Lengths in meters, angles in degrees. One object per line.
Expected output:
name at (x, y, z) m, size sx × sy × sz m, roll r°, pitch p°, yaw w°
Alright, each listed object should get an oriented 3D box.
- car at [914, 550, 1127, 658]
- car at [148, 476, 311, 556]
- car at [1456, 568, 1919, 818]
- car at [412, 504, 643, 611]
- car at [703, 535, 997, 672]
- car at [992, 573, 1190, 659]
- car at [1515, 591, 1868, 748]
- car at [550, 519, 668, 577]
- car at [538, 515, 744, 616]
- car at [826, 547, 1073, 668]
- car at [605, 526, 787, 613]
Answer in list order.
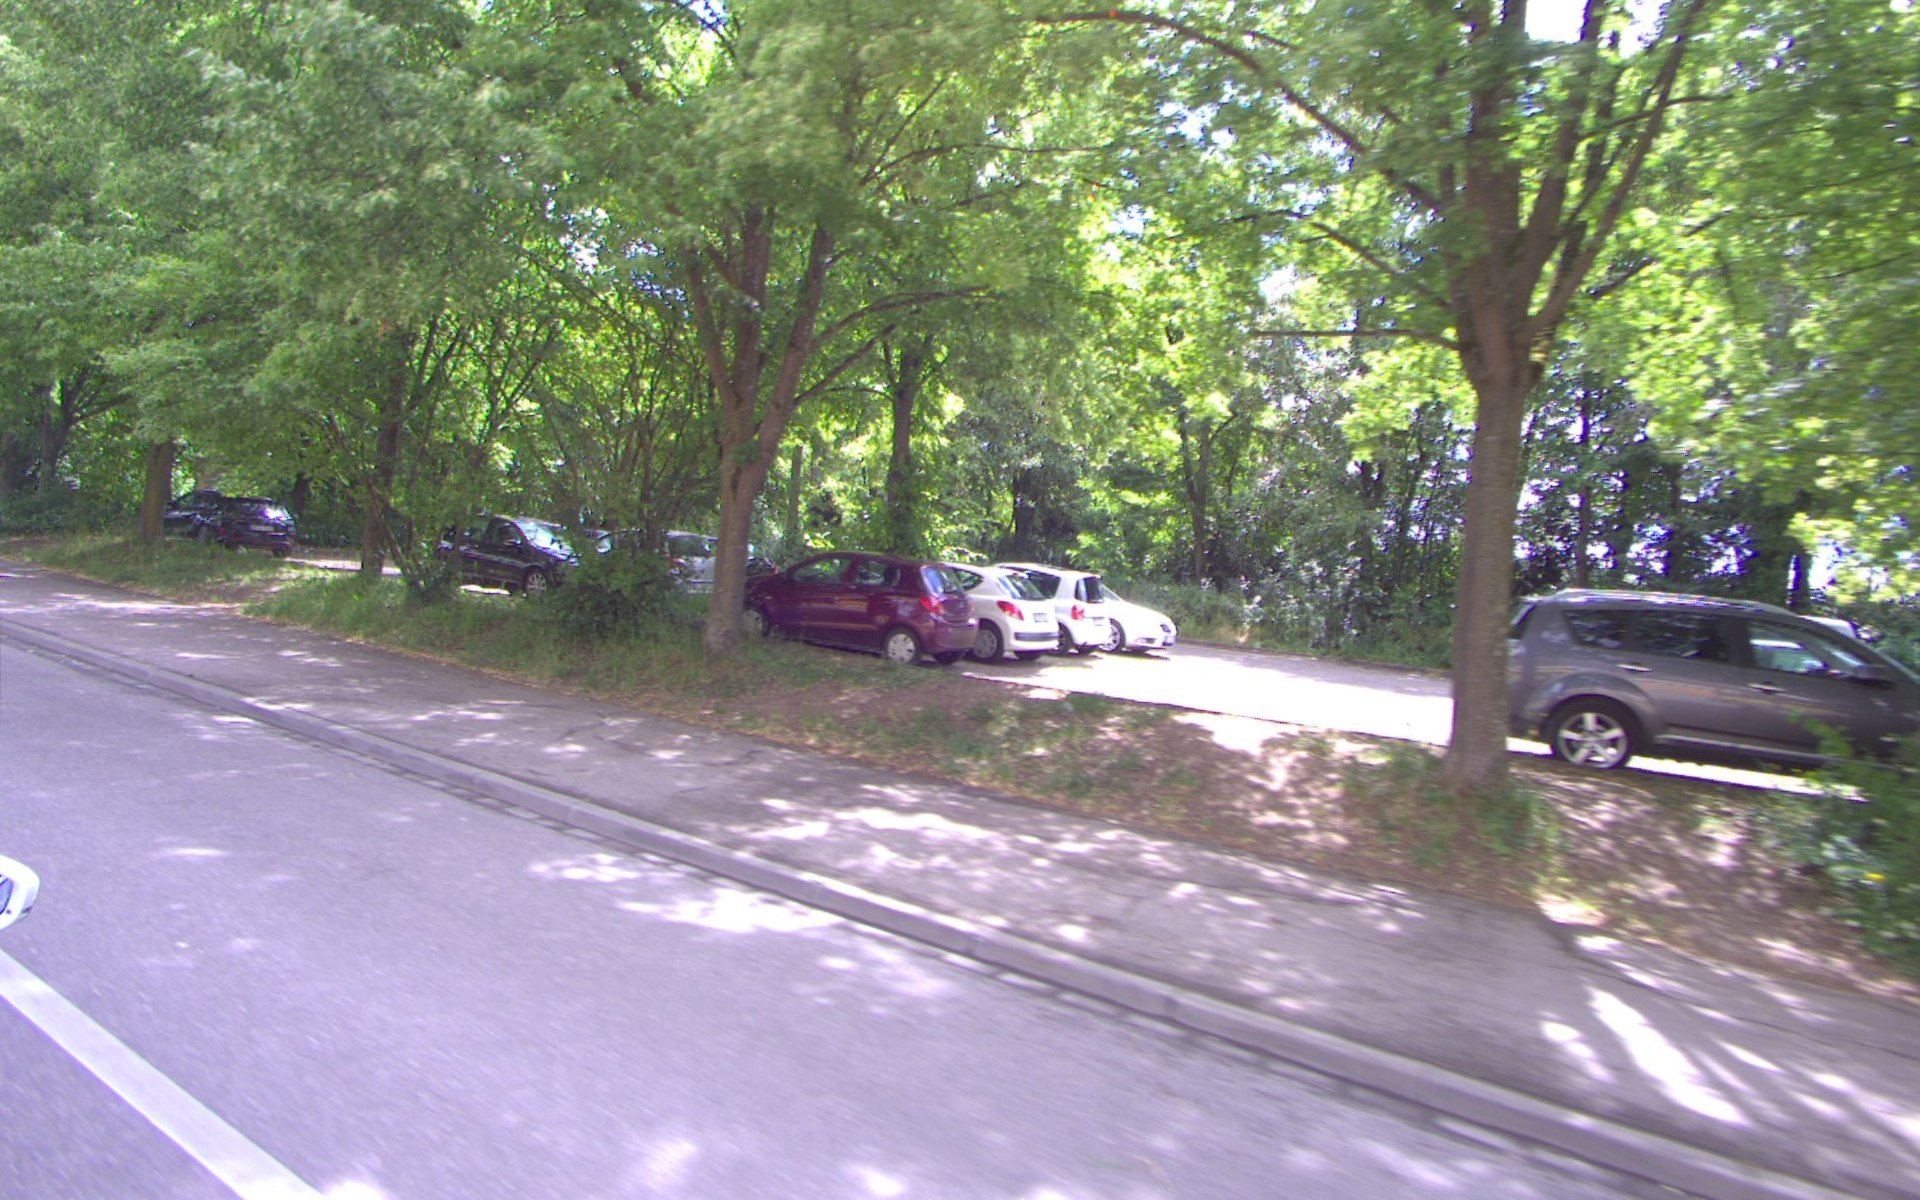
car at (1.132, 0.048, 19.174) m, size 3.562 × 1.636 × 1.692 m, roll 7°, pitch 3°, yaw 32°
car at (-17.640, -2.031, 24.239) m, size 4.091 × 1.528 × 1.715 m, roll 7°, pitch 2°, yaw 32°
car at (7.259, 0.850, 9.167) m, size 4.645 × 1.682 × 1.850 m, roll 7°, pitch -1°, yaw 31°
car at (-7.879, -0.780, 18.270) m, size 3.922 × 1.483 × 1.799 m, roll 7°, pitch 1°, yaw 30°
car at (-1.575, 0.022, 14.367) m, size 3.749 × 1.431 × 1.612 m, roll 7°, pitch 2°, yaw 23°
car at (2.703, 0.305, 20.874) m, size 3.562 × 1.335 × 1.787 m, roll 7°, pitch 3°, yaw 32°
car at (11.216, 0.982, 15.831) m, size 4.137 × 1.814 × 1.613 m, roll 7°, pitch 3°, yaw 31°
car at (-11.635, -1.728, 33.286) m, size 3.832 × 1.528 × 1.650 m, roll 7°, pitch 2°, yaw 34°
car at (-6.424, -0.699, 20.171) m, size 3.922 × 1.587 × 1.636 m, roll 7°, pitch 1°, yaw 30°
car at (-0.203, 0.084, 16.334) m, size 3.562 × 1.528 × 1.692 m, roll 7°, pitch 3°, yaw 32°
car at (-6.004, -0.701, 22.779) m, size 3.922 × 1.588 × 1.608 m, roll 7°, pitch 3°, yaw 30°
